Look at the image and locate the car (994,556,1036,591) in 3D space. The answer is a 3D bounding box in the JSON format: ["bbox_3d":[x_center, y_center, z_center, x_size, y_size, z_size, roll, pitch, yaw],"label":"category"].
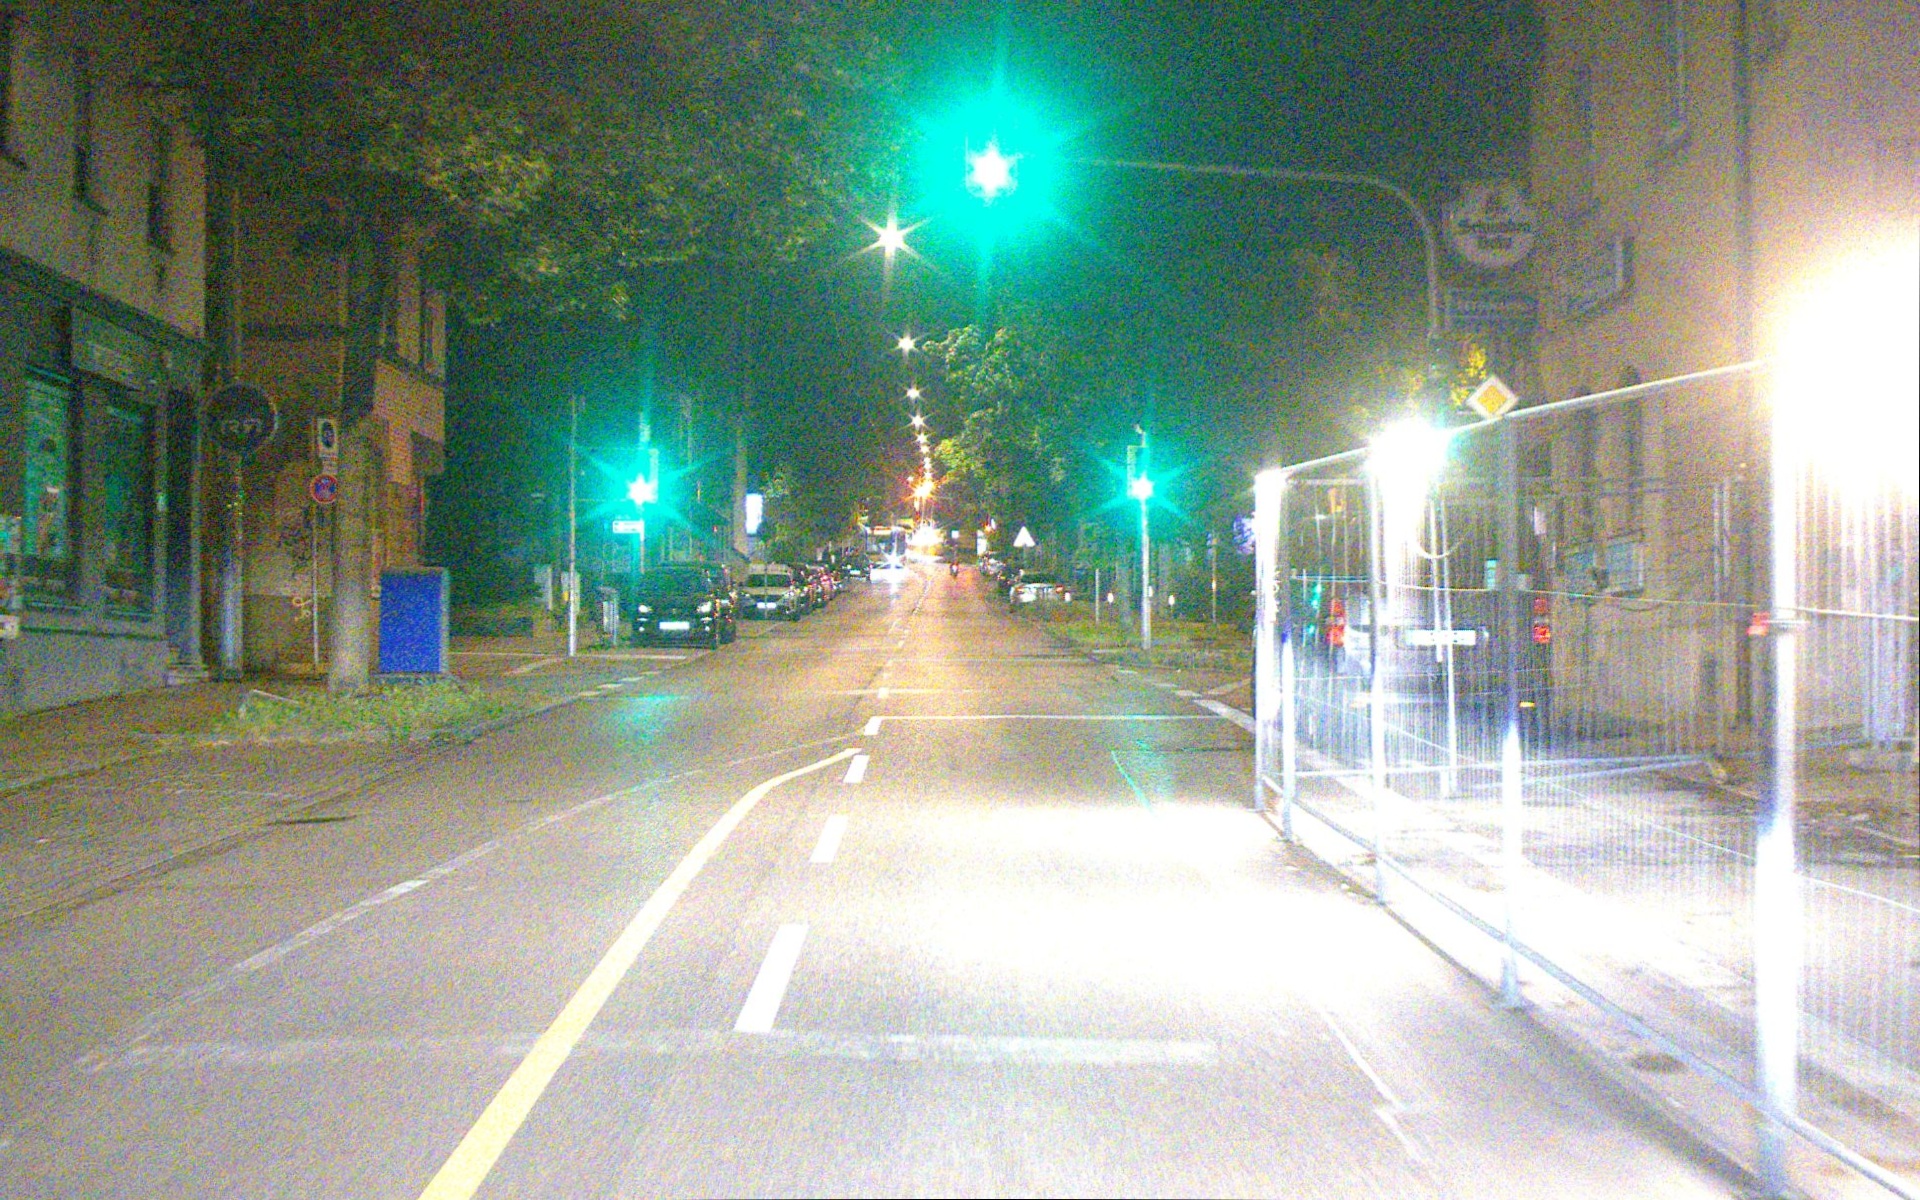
[{"bbox_3d":[2.470,-1.220,154.754,1.763,1.471,4.080,-1,1,0],"label":"car"}]

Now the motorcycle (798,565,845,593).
[{"bbox_3d":[-5.781,-0.881,143.770,0.714,1.143,2.208,-1,2,-42],"label":"motorcycle"}]

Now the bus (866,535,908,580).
[{"bbox_3d":[-5.356,-3.202,254.517,2.837,3.166,10.499,1,1,0],"label":"bus"}]

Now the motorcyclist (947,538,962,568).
[{"bbox_3d":[-0.320,-2.833,206.684,0.848,1.746,0.805,1,0,0],"label":"motorcyclist"}]

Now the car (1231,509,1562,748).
[{"bbox_3d":[3.520,0.190,28.636,1.910,1.820,4.901,0,1,-3],"label":"car"}]

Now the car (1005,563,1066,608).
[{"bbox_3d":[2.527,-0.502,116.314,1.845,1.412,4.645,-3,0,-1],"label":"car"}]

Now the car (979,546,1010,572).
[{"bbox_3d":[2.140,-2.587,216.921,1.868,1.521,4.150,-1,1,0],"label":"car"}]

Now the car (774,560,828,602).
[{"bbox_3d":[-5.860,-0.706,127.042,1.863,1.486,4.280,1,0,-1],"label":"car"}]

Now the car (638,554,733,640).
[{"bbox_3d":[-5.646,-0.093,71.125,1.848,1.644,4.672,1,1,-4],"label":"car"}]

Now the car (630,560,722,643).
[{"bbox_3d":[-5.354,0.018,65.152,1.647,1.509,3.702,1,0,-4],"label":"car"}]

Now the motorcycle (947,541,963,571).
[{"bbox_3d":[-0.321,-2.620,206.715,0.931,1.746,2.625,1,0,0],"label":"motorcycle"}]

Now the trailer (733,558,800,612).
[{"bbox_3d":[-6.034,-0.473,107.520,1.638,1.634,3.438,1,0,4],"label":"trailer"}]

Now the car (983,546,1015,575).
[{"bbox_3d":[2.303,-2.357,203.746,1.812,1.588,4.274,-1,1,0],"label":"car"}]

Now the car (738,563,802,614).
[{"bbox_3d":[-5.664,-0.366,102.857,1.814,1.479,4.348,0,1,-2],"label":"car"}]
